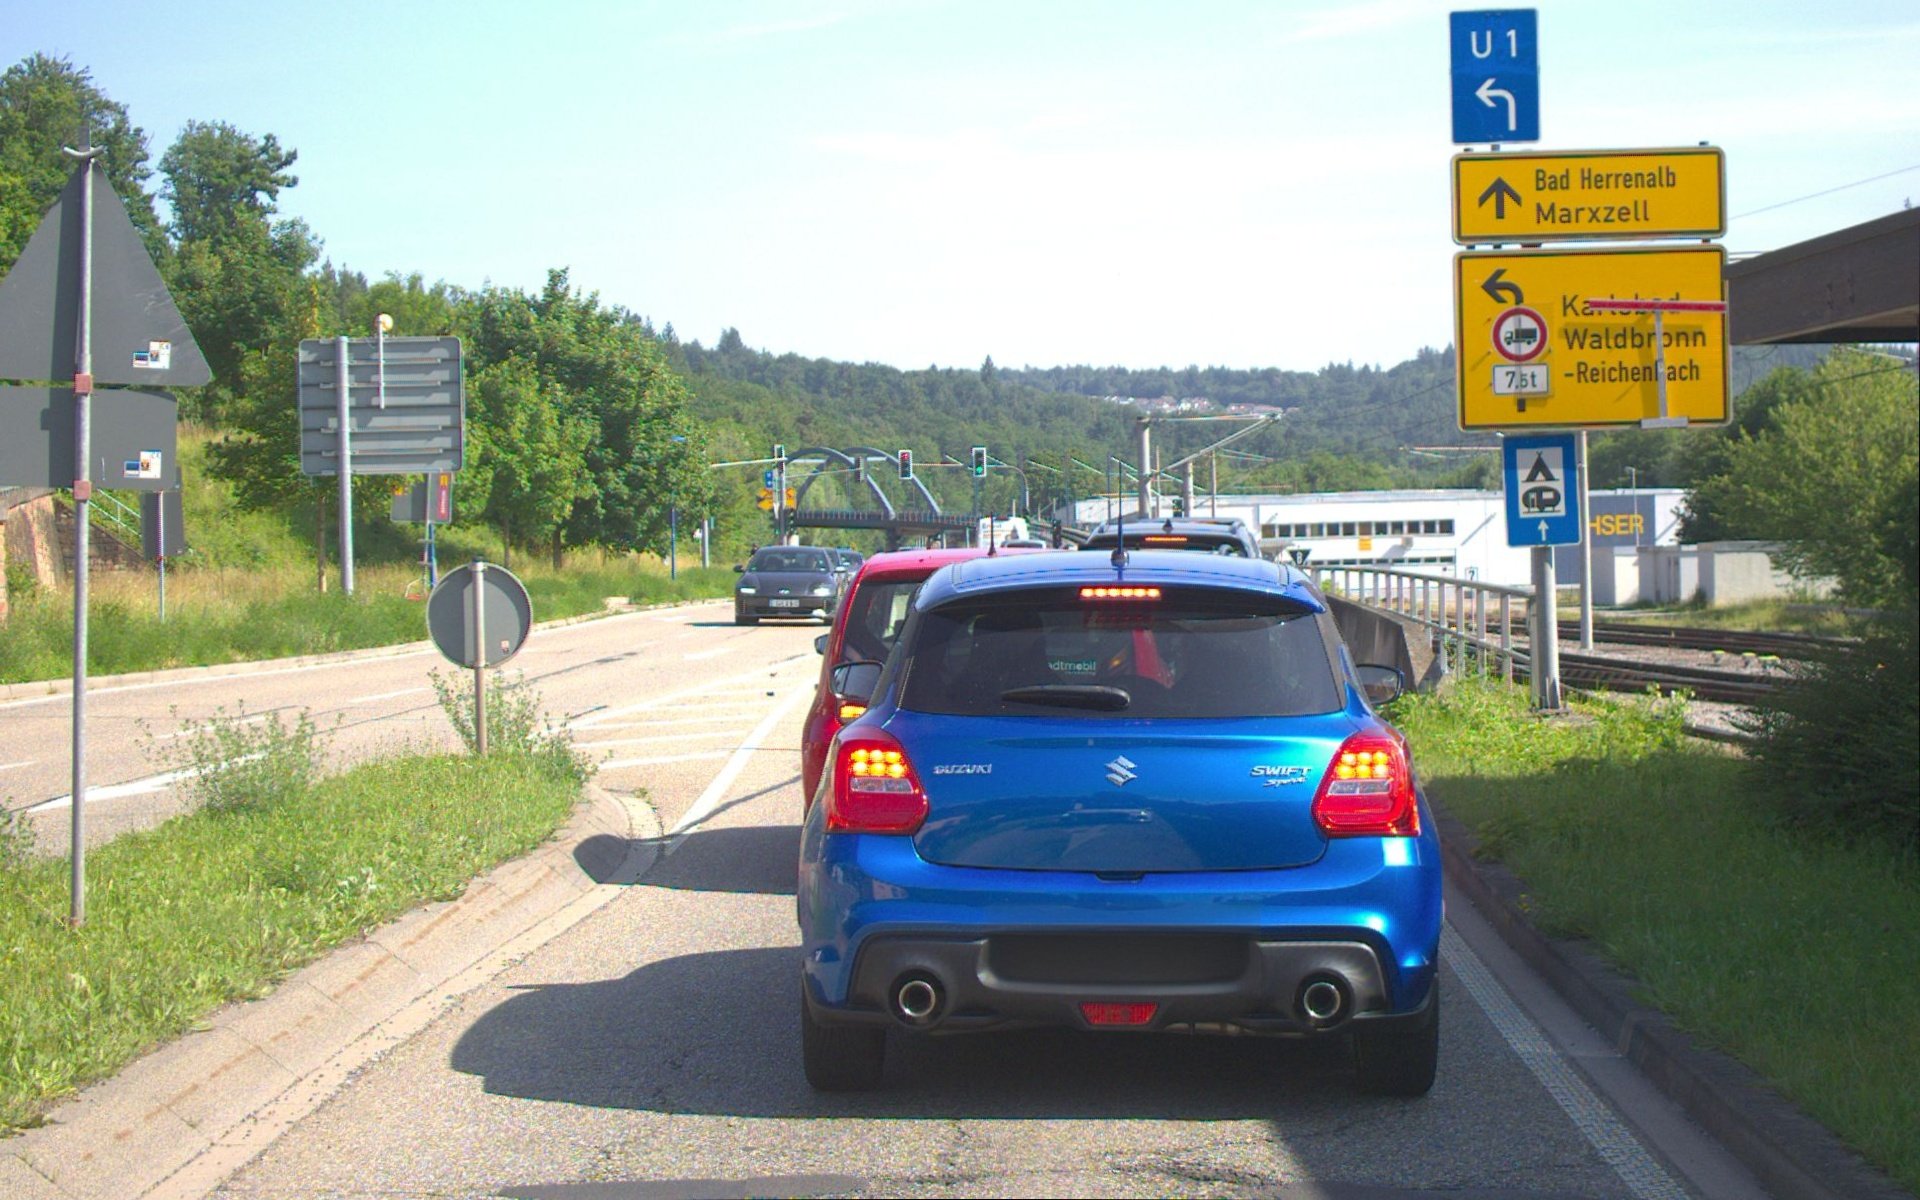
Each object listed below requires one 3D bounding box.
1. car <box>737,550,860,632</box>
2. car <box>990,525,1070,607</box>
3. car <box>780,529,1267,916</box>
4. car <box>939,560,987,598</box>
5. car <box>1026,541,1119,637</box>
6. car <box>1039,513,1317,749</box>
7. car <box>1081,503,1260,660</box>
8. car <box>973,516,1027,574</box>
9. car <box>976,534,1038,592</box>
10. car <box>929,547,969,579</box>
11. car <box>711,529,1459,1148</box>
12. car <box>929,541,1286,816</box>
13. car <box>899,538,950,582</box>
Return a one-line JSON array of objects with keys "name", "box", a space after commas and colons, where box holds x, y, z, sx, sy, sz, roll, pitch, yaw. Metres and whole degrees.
[{"name": "car", "box": [-3.014, -0.196, 64.956, 1.791, 1.465, 4.716, 1, 1, 4]}, {"name": "car", "box": [1.844, -0.919, 90.664, 1.993, 2.006, 4.000, 2, 2, 1]}, {"name": "car", "box": [0.347, 0.488, 16.334, 1.994, 1.566, 4.000, 1, 1, 2]}, {"name": "car", "box": [0.128, -0.933, 150.077, 1.993, 1.549, 4.215, 2, 1, 1]}, {"name": "car", "box": [2.556, -0.284, 78.840, 1.993, 2.006, 4.000, 2, 2, 1]}, {"name": "car", "box": [1.705, 0.186, 27.653, 1.994, 1.681, 4.497, 2, 1, 2]}, {"name": "car", "box": [2.499, -0.252, 41.478, 1.994, 1.730, 4.000, 2, 1, 2]}, {"name": "car", "box": [1.531, -2.084, 131.836, 1.993, 2.137, 4.720, 1, 1, 1]}, {"name": "car", "box": [1.603, -1.288, 117.129, 1.993, 1.810, 4.000, 2, 2, 1]}, {"name": "car", "box": [-0.541, -1.910, 176.418, 1.993, 1.585, 4.000, 1, 1, 0]}, {"name": "car", "box": [0.321, 0.567, 10.663, 1.868, 1.543, 4.000, 1, 1, 0]}, {"name": "car", "box": [0.926, 0.404, 21.588, 1.994, 1.526, 4.601, 0, 1, 3]}, {"name": "car", "box": [-1.482, -1.662, 143.870, 1.993, 1.777, 4.000, 1, 1, 1]}]
